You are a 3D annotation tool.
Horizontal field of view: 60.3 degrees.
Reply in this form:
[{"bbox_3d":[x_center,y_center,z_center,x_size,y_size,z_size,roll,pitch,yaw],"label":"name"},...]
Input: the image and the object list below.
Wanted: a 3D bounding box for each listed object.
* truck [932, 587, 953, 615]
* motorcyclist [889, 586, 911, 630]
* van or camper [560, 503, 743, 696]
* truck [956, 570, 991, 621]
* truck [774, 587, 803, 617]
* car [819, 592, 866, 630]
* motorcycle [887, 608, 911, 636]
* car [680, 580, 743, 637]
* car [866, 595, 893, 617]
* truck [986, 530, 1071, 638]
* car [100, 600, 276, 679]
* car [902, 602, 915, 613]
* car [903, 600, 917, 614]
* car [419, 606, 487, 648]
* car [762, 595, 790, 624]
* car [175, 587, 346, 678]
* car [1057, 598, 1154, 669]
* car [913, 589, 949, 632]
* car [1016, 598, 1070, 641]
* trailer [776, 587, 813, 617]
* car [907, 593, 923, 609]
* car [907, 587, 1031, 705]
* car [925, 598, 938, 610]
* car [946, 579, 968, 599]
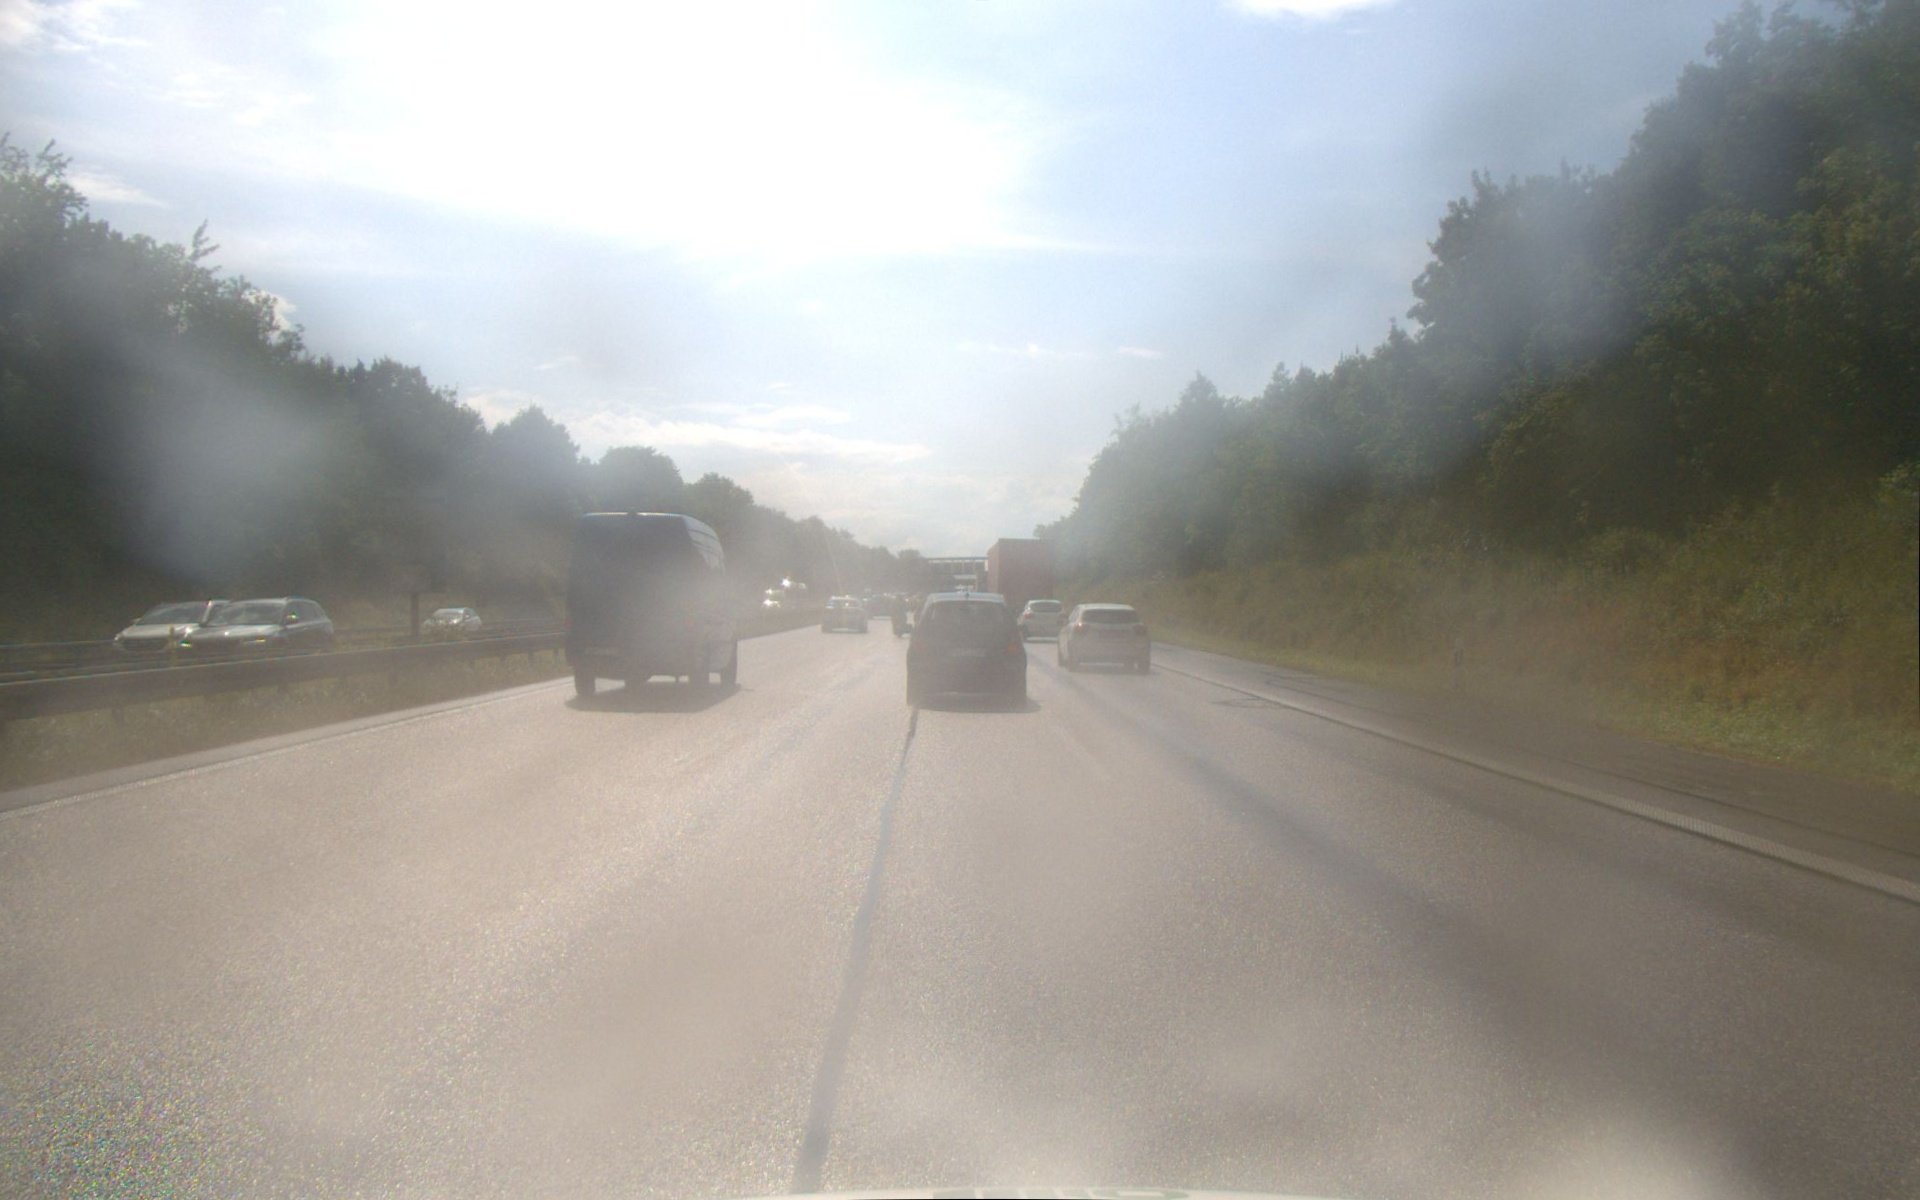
[{"bbox_3d":[-1.839,0.124,174.379,2.147,2.926,4.848,1,0,-1],"label":"truck"},{"bbox_3d":[-2.281,0.307,62.749,0.785,1.662,1.013,1,0,-2],"label":"motorcyclist"},{"bbox_3d":[-4.718,0.003,26.086,1.953,2.715,5.383,1,0,-1],"label":"van or camper"},{"bbox_3d":[1.296,-0.393,158.164,3.189,4.558,12.421,1,0,0],"label":"truck"},{"bbox_3d":[-22.534,0.250,217.216,2.929,3.898,6.864,1,0,1],"label":"truck"},{"bbox_3d":[-5.011,0.466,71.091,1.817,1.578,3.483,1,0,-1],"label":"car"},{"bbox_3d":[-2.304,0.817,62.789,0.873,1.018,2.895,1,0,-1],"label":"motorcycle"},{"bbox_3d":[-11.477,0.388,76.686,2.139,2.495,5.746,1,0,-1],"label":"car"},{"bbox_3d":[-5.544,0.428,114.049,1.716,1.482,3.388,1,0,-1],"label":"car"},{"bbox_3d":[3.211,-0.684,82.413,3.575,4.803,16.778,1,0,0],"label":"truck"},{"bbox_3d":[-17.900,0.874,38.637,1.976,1.692,4.697,1,0,-1],"label":"car"},{"bbox_3d":[-6.003,0.867,192.942,1.518,1.289,3.483,1,0,-2],"label":"car"},{"bbox_3d":[-5.162,0.703,170.285,1.455,1.414,3.197,1,0,-1],"label":"car"},{"bbox_3d":[-21.713,1.128,70.989,1.696,1.692,4.235,1,0,-1],"label":"car"},{"bbox_3d":[-18.859,0.988,169.999,2.217,2.920,6.929,1,0,-1],"label":"car"},{"bbox_3d":[-13.942,0.615,33.225,1.696,1.692,4.235,1,0,-1],"label":"car"},{"bbox_3d":[3.160,0.702,36.627,1.658,1.450,4.219,1,0,-1],"label":"car"},{"bbox_3d":[-1.266,0.453,70.976,1.500,1.777,3.483,1,0,-1],"label":"car"},{"bbox_3d":[2.965,0.675,59.647,1.646,1.467,3.904,1,0,-1],"label":"car"},{"bbox_3d":[-22.427,0.286,225.528,2.929,3.898,17.952,1,0,1],"label":"trailer"},{"bbox_3d":[-5.852,0.179,214.533,1.953,2.049,3.999,0,0,-1],"label":"car"},{"bbox_3d":[0.086,0.642,24.578,1.683,1.595,3.483,1,0,-1],"label":"car"},{"bbox_3d":[-4.105,0.576,237.600,1.953,1.731,3.999,0,0,-1],"label":"car"},{"bbox_3d":[-0.228,-0.820,120.820,1.521,1.407,3.209,1,0,-1],"label":"car"}]
